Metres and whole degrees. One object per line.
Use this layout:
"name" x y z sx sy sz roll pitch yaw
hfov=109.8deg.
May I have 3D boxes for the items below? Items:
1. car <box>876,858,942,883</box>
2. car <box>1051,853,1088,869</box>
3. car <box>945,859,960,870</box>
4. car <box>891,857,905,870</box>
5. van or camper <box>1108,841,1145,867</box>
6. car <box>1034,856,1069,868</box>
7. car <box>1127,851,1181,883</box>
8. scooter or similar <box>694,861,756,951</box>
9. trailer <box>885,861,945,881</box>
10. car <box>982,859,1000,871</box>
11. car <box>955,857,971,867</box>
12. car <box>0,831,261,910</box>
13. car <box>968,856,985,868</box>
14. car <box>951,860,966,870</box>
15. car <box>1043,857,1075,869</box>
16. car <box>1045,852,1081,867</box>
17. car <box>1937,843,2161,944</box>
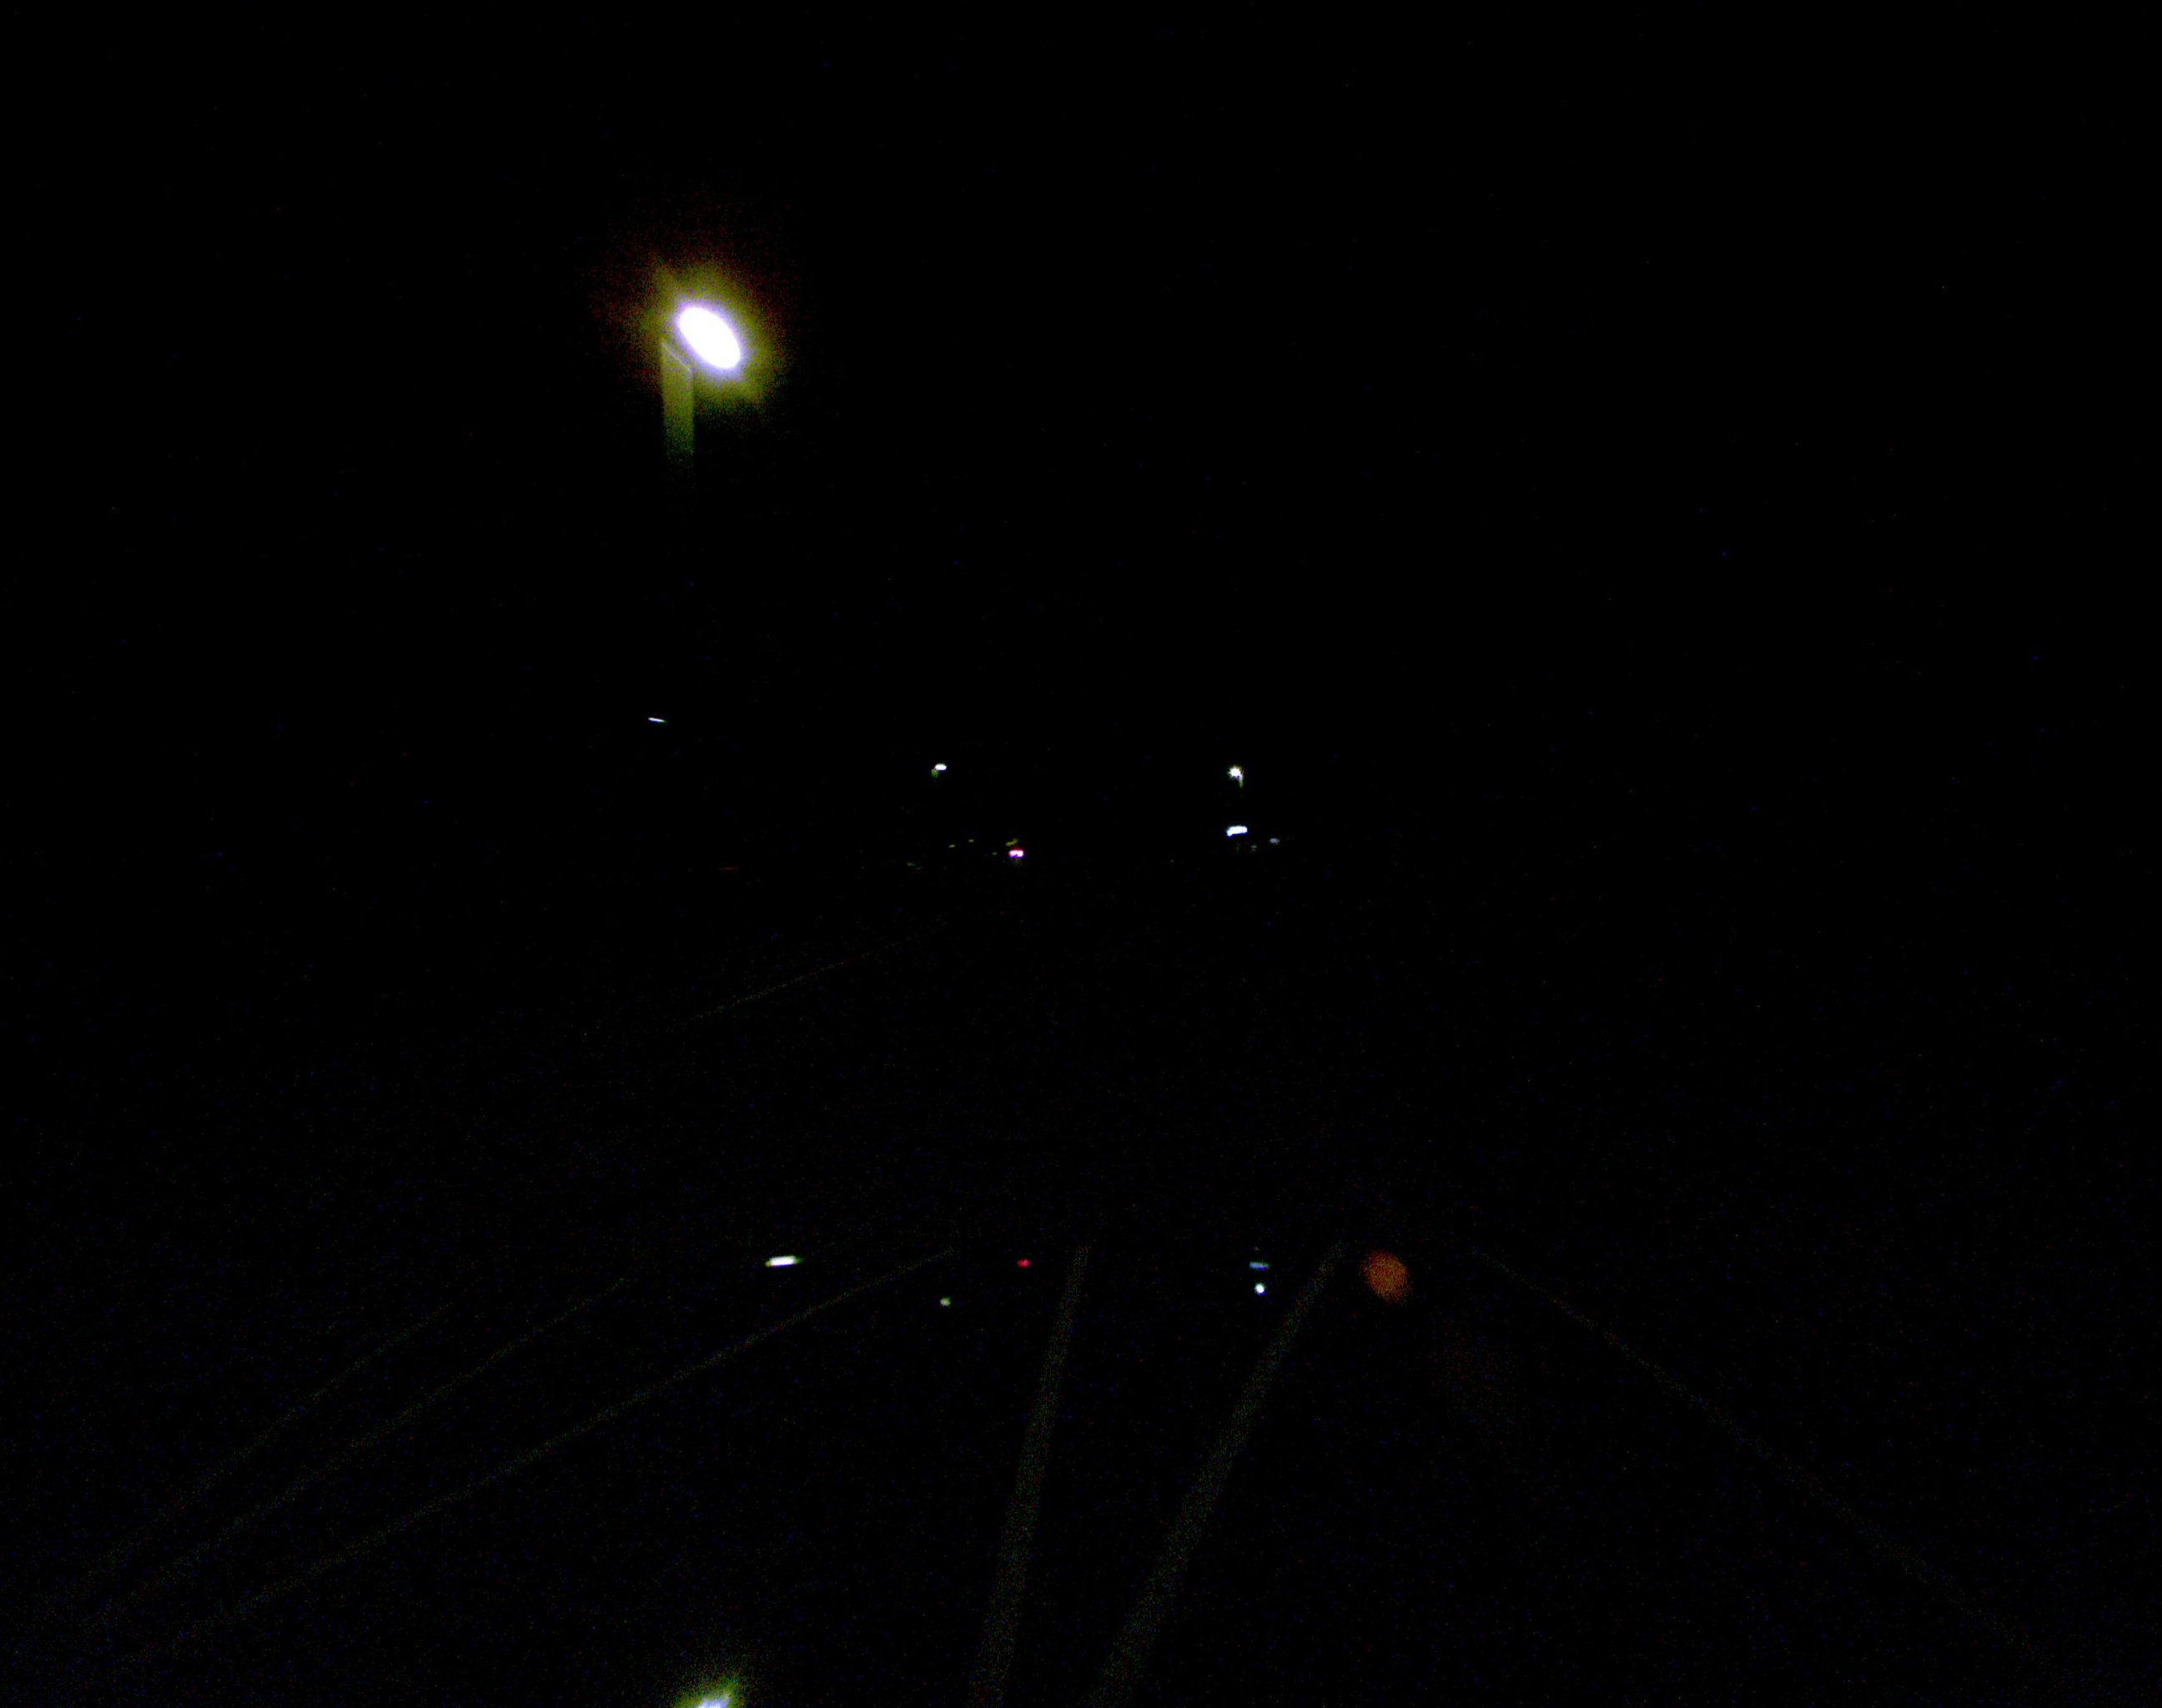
"car" -9.414 0.881 41.533 3.405 1.224 1.722 -2 0 -17
"car" -1.372 0.825 90.891 4.005 1.692 1.945 3 -2 -22
"car" -24.671 2.003 145.892 2.124 1.935 4.881 -2 0 -17
"car" -22.932 1.198 95.093 1.646 1.550 3.674 1 -1 -16
"van or camper" 4.915 -0.016 83.216 2.082 2.731 5.922 -1 0 -16
"car" -4.111 1.105 105.440 4.331 1.552 2.026 0 -1 -22
"car" 3.893 0.673 41.014 1.679 1.581 3.982 -1 0 -14
"scooter or similar" -5.543 0.760 11.898 0.614 1.273 1.688 -1 0 -17
"trailer" -10.028 1.011 45.796 3.445 0.996 1.952 -3 0 -15
"car" -11.700 1.423 98.837 1.756 1.460 4.004 -1 -1 -16
"car" -20.851 1.405 134.322 2.124 1.539 4.470 -4 1 -17
"car" -19.986 0.320 15.572 3.902 1.445 1.944 2 1 -12
"car" -15.717 1.224 113.953 1.936 1.627 4.465 -1 -1 -16
"car" -22.426 2.060 139.281 2.124 1.660 4.164 -1 -1 -17
"car" -2.983 1.196 103.207 4.001 1.608 1.998 0 -1 -12
"car" -2.300 0.683 95.054 4.131 1.652 1.998 2 -1 -14
"car" 17.713 0.635 13.108 3.721 1.617 1.783 0 0 4
